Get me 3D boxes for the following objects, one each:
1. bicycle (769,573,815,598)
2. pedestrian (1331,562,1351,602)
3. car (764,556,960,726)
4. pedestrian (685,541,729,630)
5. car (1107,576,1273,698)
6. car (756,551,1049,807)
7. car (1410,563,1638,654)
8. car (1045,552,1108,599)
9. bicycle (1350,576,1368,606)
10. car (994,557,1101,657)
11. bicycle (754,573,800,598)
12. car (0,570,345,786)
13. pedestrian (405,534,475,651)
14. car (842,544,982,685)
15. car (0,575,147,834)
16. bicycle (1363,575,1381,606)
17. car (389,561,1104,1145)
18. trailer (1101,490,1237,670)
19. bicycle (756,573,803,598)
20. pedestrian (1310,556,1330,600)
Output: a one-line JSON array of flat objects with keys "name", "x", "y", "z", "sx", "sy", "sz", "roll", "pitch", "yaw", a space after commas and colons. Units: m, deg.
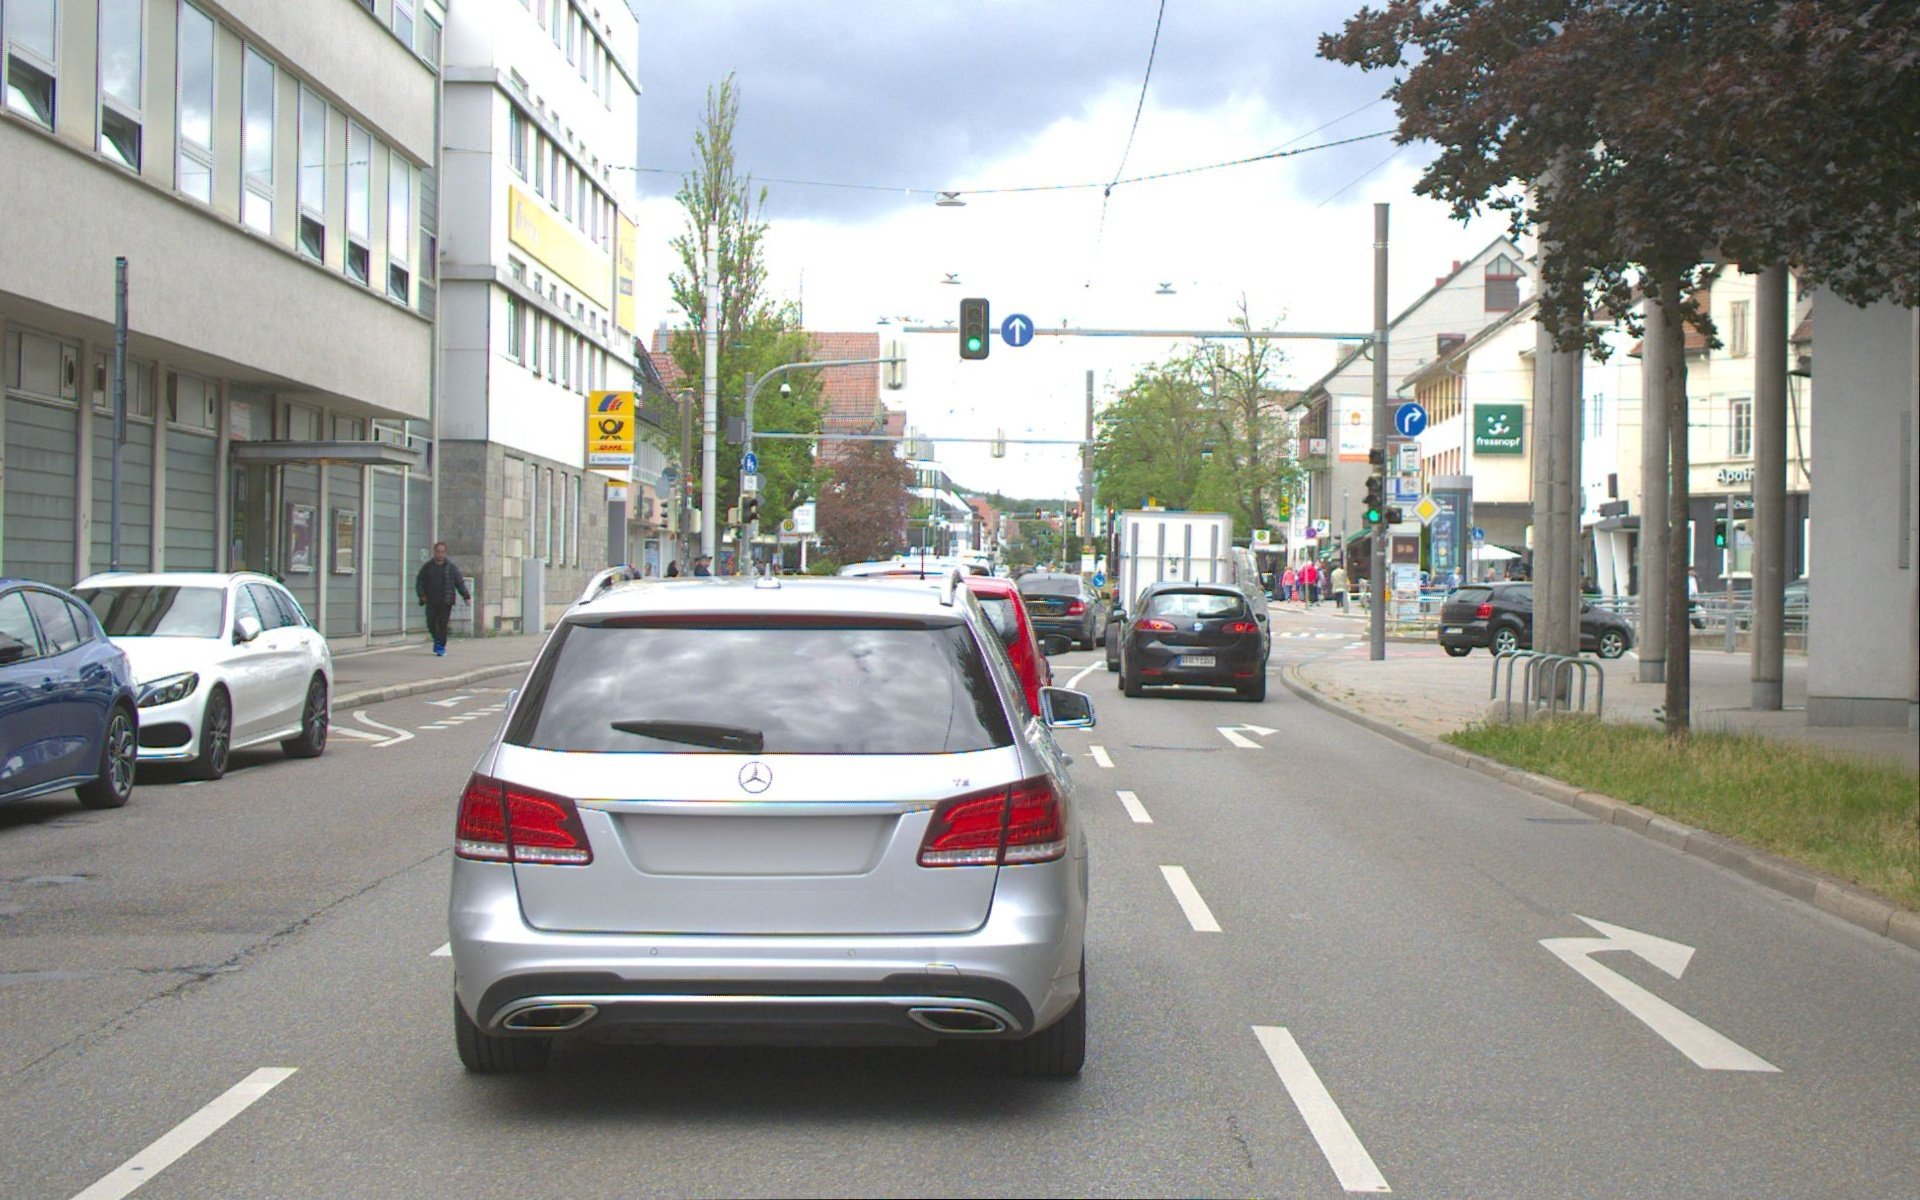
[{"name": "bicycle", "x": -7.364, "y": -0.640, "z": 150.974, "sx": 1.937, "sy": 1.025, "sz": 0.530, "roll": 2, "pitch": 0, "yaw": -8}, {"name": "pedestrian", "x": 14.208, "y": -0.663, "z": 128.214, "sx": 0.578, "sy": 1.464, "sz": 0.651, "roll": 2, "pitch": 0, "yaw": -7}, {"name": "car", "x": -0.910, "y": 0.345, "z": 32.652, "sx": 1.734, "sy": 1.503, "sz": 4.000, "roll": 1, "pitch": 1, "yaw": -1}, {"name": "pedestrian", "x": -4.981, "y": -0.294, "z": 67.710, "sx": 0.648, "sy": 1.712, "sz": 0.782, "roll": 2, "pitch": 1, "yaw": 8}, {"name": "car", "x": 2.846, "y": 0.425, "z": 43.210, "sx": 1.734, "sy": 1.406, "sz": 4.000, "roll": 0, "pitch": 1, "yaw": -1}, {"name": "car", "x": -0.348, "y": 0.456, "z": 22.744, "sx": 1.734, "sy": 1.503, "sz": 4.000, "roll": 1, "pitch": 1, "yaw": 0}, {"name": "car", "x": 10.627, "y": 0.162, "z": 64.812, "sx": 3.785, "sy": 1.664, "sz": 1.930, "roll": 0, "pitch": 1, "yaw": -23}, {"name": "car", "x": 3.634, "y": -0.770, "z": 107.515, "sx": 1.734, "sy": 1.406, "sz": 4.000, "roll": 0, "pitch": 1, "yaw": -1}, {"name": "bicycle", "x": 14.518, "y": -0.337, "z": 125.047, "sx": 0.448, "sy": 1.087, "sz": 2.149, "roll": 1, "pitch": 0, "yaw": 2}, {"name": "car", "x": 1.598, "y": 0.103, "z": 64.314, "sx": 1.828, "sy": 1.779, "sz": 4.000, "roll": 1, "pitch": 1, "yaw": -1}, {"name": "bicycle", "x": -7.858, "y": -0.631, "z": 147.661, "sx": 1.937, "sy": 1.025, "sz": 0.530, "roll": 2, "pitch": 0, "yaw": -8}, {"name": "car", "x": -5.920, "y": 0.511, "z": 25.553, "sx": 1.670, "sy": 1.429, "sz": 4.552, "roll": -1, "pitch": 1, "yaw": 3}, {"name": "pedestrian", "x": -7.850, "y": -0.119, "z": 51.948, "sx": 0.861, "sy": 1.712, "sz": 1.031, "roll": 2, "pitch": 0, "yaw": -1}, {"name": "car", "x": -0.643, "y": 0.165, "z": 45.129, "sx": 1.734, "sy": 1.753, "sz": 4.000, "roll": 1, "pitch": 1, "yaw": -1}, {"name": "car", "x": -6.194, "y": 0.591, "z": 19.681, "sx": 1.815, "sy": 1.421, "sz": 4.263, "roll": -1, "pitch": 1, "yaw": 4}, {"name": "bicycle", "x": 14.968, "y": -0.339, "z": 125.034, "sx": 0.448, "sy": 1.103, "sz": 2.149, "roll": 1, "pitch": 0, "yaw": 2}, {"name": "car", "x": -0.594, "y": 0.636, "z": 11.020, "sx": 1.845, "sy": 1.503, "sz": 4.171, "roll": 1, "pitch": 1, "yaw": -1}, {"name": "trailer", "x": 3.224, "y": -0.318, "z": 53.794, "sx": 1.878, "sy": 2.604, "sz": 4.323, "roll": 3, "pitch": 1, "yaw": 2}, {"name": "bicycle", "x": -7.732, "y": -0.621, "z": 146.998, "sx": 1.937, "sy": 1.025, "sz": 0.530, "roll": 2, "pitch": 0, "yaw": -8}, {"name": "pedestrian", "x": 13.798, "y": -0.833, "z": 131.760, "sx": 0.578, "sy": 1.661, "sz": 0.651, "roll": 2, "pitch": 0, "yaw": -8}]
